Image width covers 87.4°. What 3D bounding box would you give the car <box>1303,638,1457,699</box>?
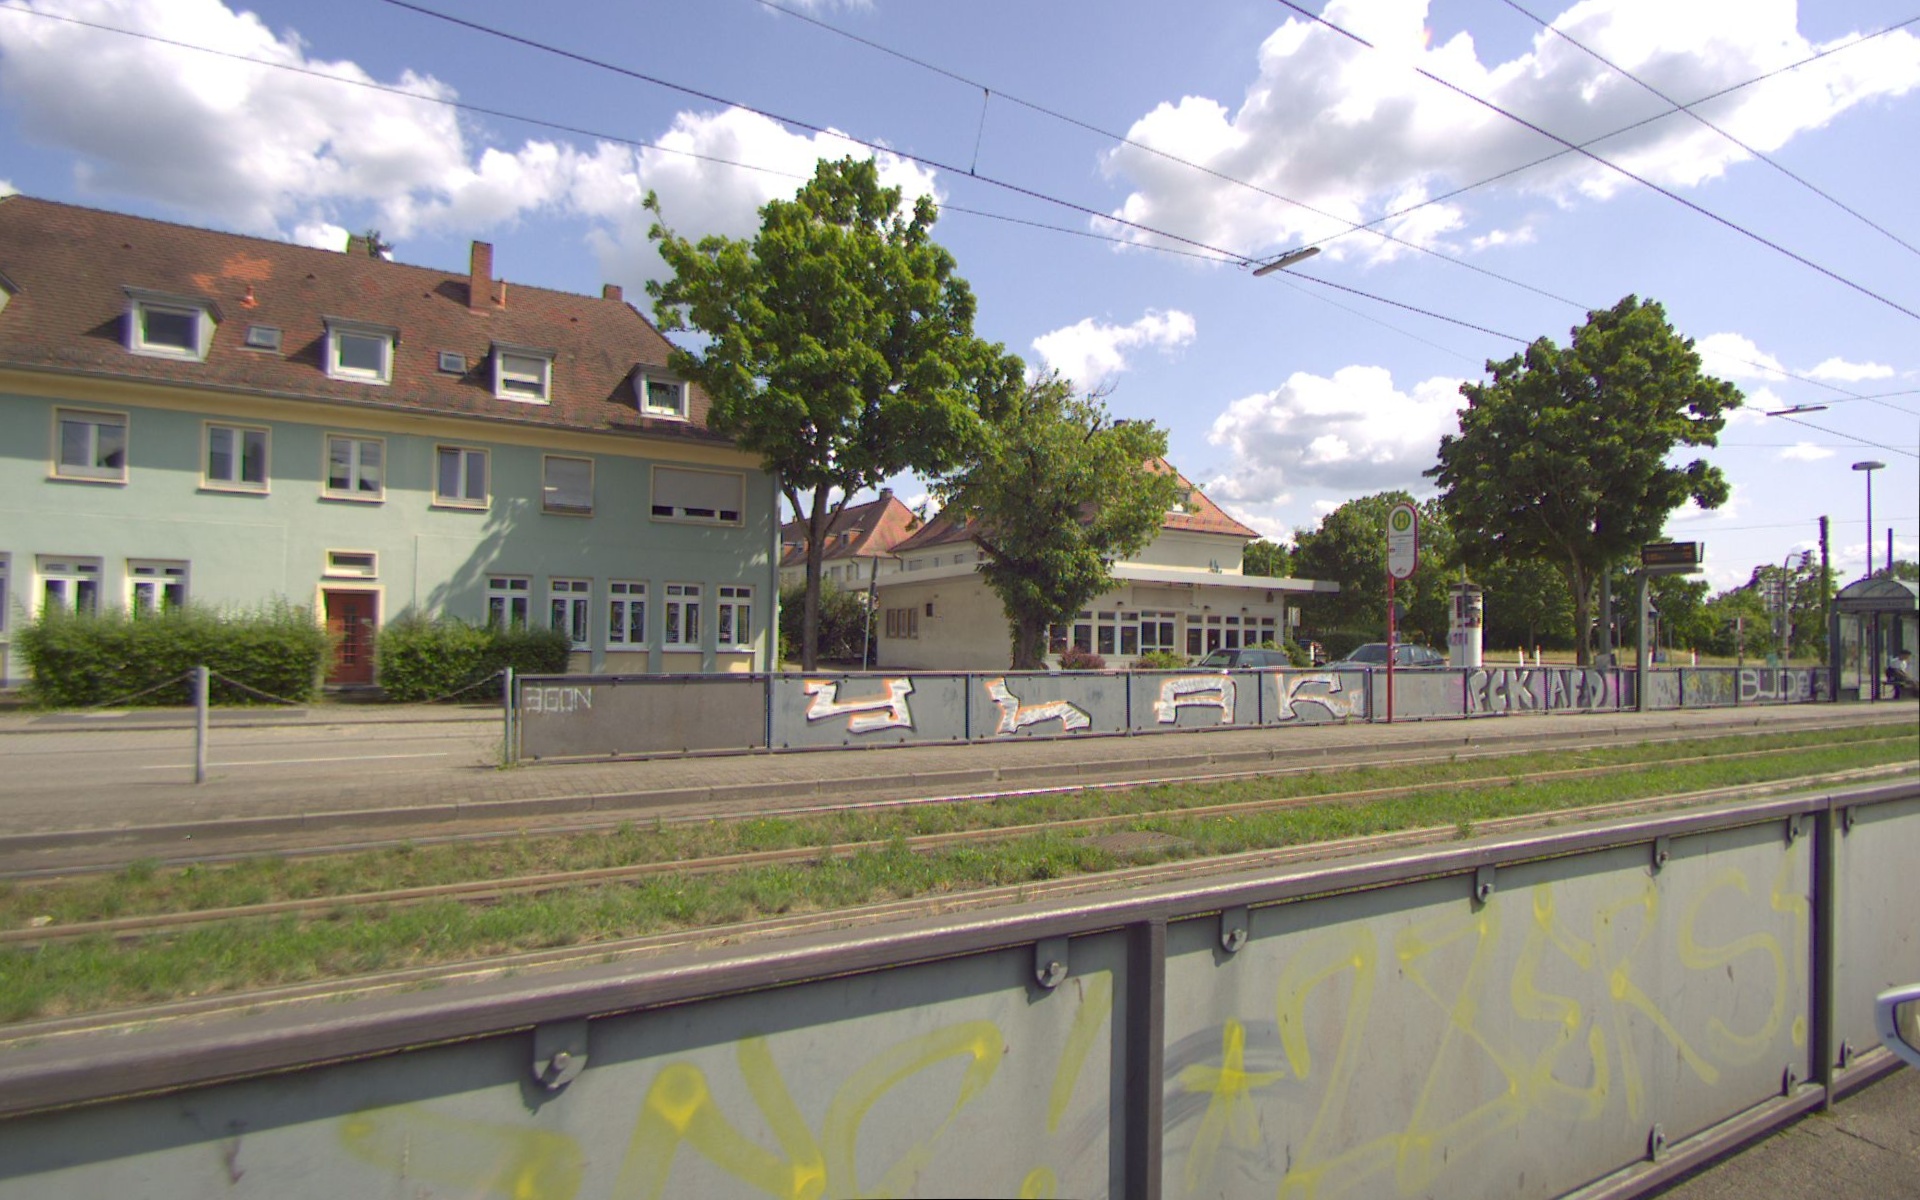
[{"bbox_3d":[12.372,1.958,29.517,4.707,1.635,2.046,2,-2,-36],"label":"car"}]

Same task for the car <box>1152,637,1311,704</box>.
[{"bbox_3d":[7.112,1.806,26.306,3.882,1.605,1.779,2,-2,-28],"label":"car"}]

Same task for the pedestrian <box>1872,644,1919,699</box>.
[{"bbox_3d":[25.023,1.888,26.600,0.850,1.394,1.054,2,-1,-30],"label":"pedestrian"}]
